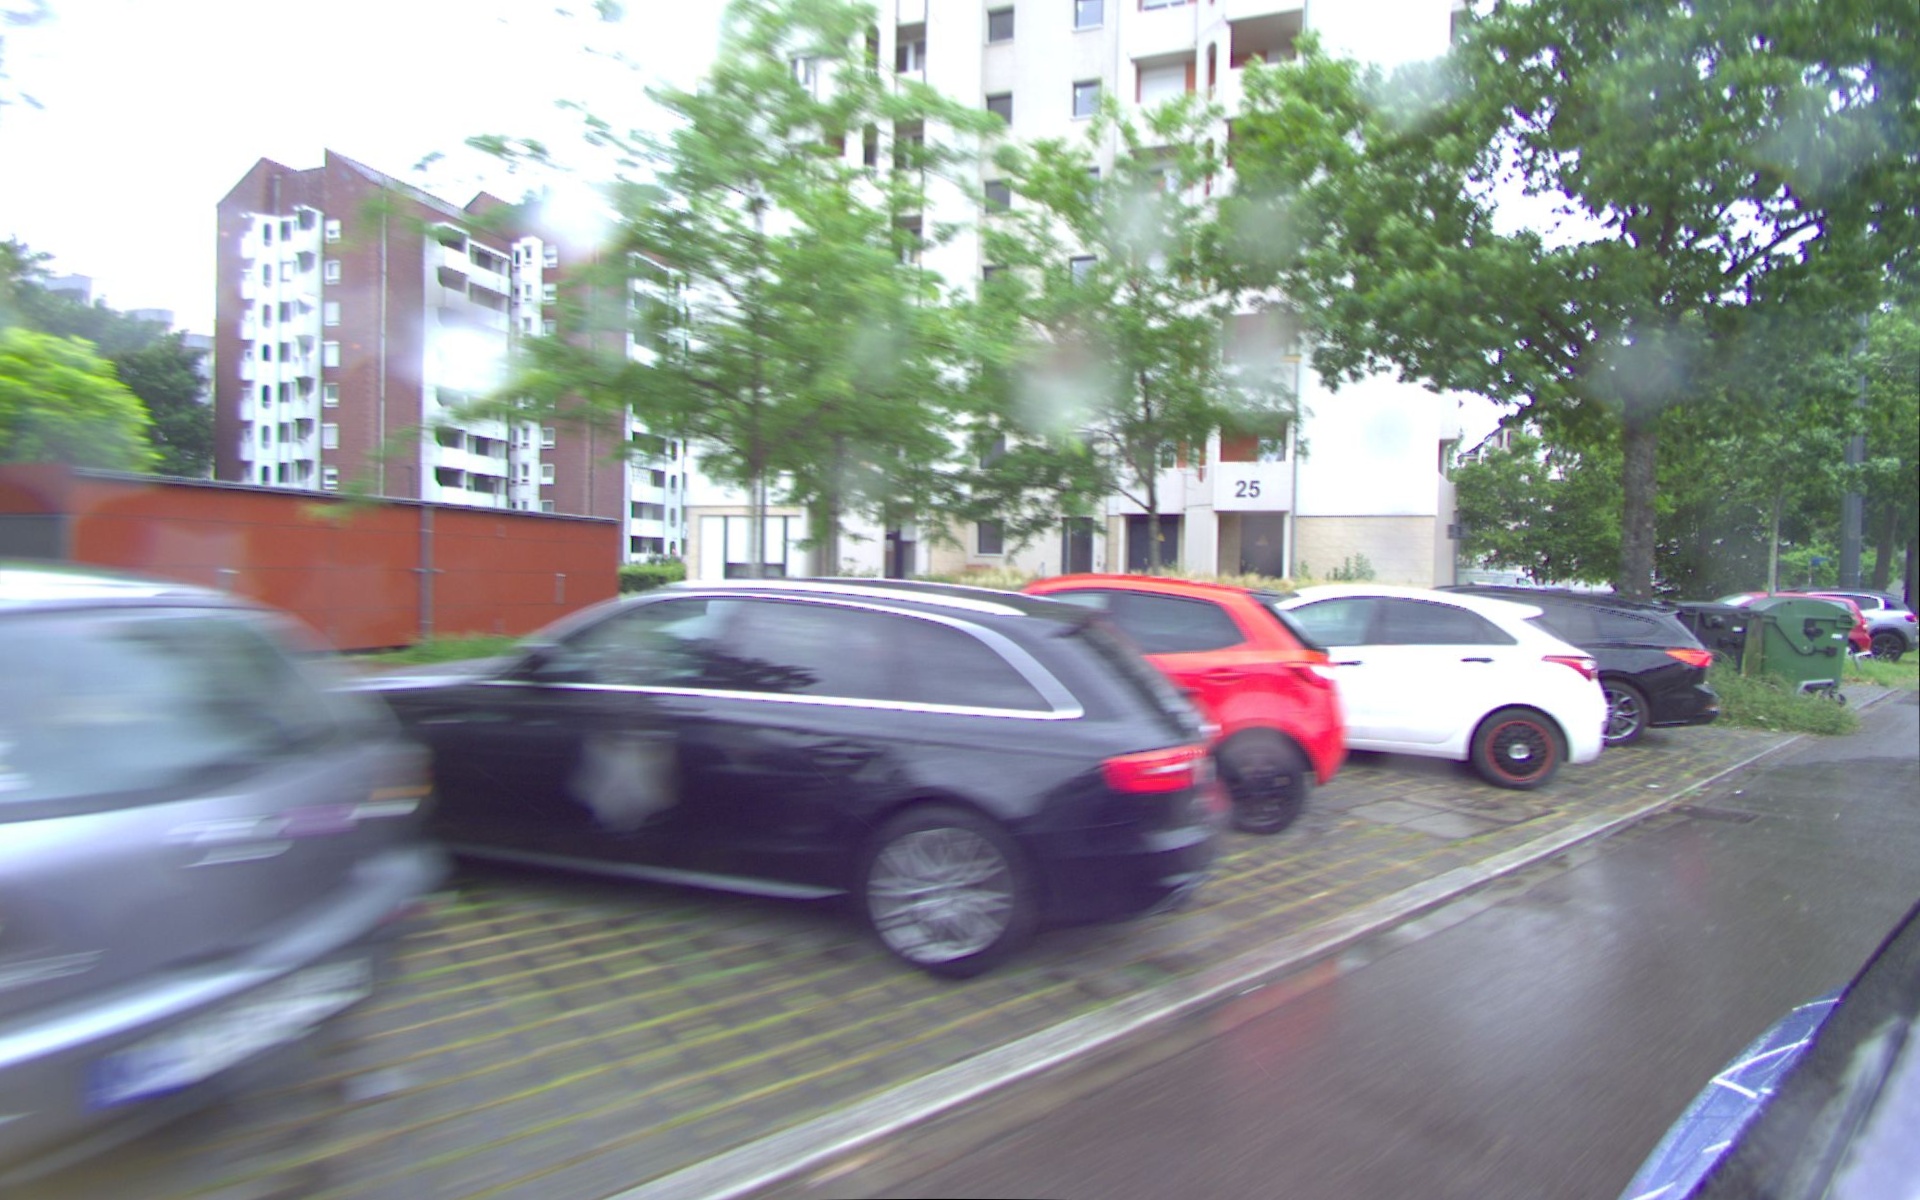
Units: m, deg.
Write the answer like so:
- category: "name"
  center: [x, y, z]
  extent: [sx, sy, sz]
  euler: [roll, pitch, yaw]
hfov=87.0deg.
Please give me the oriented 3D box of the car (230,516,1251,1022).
- category: "car"
  center: [-0.966, 0.481, 4.755]
  extent: [4.401, 1.445, 1.676]
  euler: [4, 2, 17]

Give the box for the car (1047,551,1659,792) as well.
- category: "car"
  center: [3.119, 0.467, 8.800]
  extent: [4.400, 1.483, 1.811]
  euler: [4, 2, 16]

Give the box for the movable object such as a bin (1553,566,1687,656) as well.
- category: "movable object such as a bin"
  center: [9.659, 0.148, 14.871]
  extent: [1.220, 1.267, 1.185]
  euler: [0, 1, 6]

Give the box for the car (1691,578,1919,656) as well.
- category: "car"
  center: [20.184, 0.363, 24.174]
  extent: [3.988, 1.706, 1.717]
  euler: [1, 1, 15]

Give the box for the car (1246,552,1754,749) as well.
- category: "car"
  center: [5.425, 0.399, 10.840]
  extent: [4.404, 1.560, 1.675]
  euler: [4, 4, 19]

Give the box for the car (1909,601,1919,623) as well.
- category: "car"
  center: [62.671, 0.774, 63.228]
  extent: [4.426, 1.344, 1.986]
  euler: [0, 1, 22]

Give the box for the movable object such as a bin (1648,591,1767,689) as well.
- category: "movable object such as a bin"
  center: [10.805, 0.548, 14.683]
  extent: [0.982, 1.329, 1.183]
  euler: [0, 1, 12]

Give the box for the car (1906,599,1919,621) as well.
- category: "car"
  center: [60.412, 0.612, 61.051]
  extent: [4.423, 1.344, 1.987]
  euler: [0, 1, 20]

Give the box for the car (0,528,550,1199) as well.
- category: "car"
  center: [-3.610, 0.484, 2.829]
  extent: [4.400, 1.427, 1.760]
  euler: [4, 2, 16]

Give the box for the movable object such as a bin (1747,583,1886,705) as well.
- category: "movable object such as a bin"
  center: [11.793, 0.555, 14.003]
  extent: [1.152, 1.582, 1.362]
  euler: [0, 1, 27]

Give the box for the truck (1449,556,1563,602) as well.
- category: "truck"
  center: [31.056, -1.197, 57.608]
  extent: [5.633, 2.468, 2.100]
  euler: [1, 1, 33]

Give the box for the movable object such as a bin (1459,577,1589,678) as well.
- category: "movable object such as a bin"
  center: [8.370, 0.374, 15.092]
  extent: [1.344, 1.440, 1.184]
  euler: [0, 1, 8]

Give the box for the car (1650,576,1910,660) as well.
- category: "car"
  center: [17.925, 0.340, 22.328]
  extent: [3.989, 1.507, 1.717]
  euler: [4, 2, 15]

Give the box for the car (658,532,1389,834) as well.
- category: "car"
  center: [0.386, 0.406, 7.011]
  extent: [4.393, 1.445, 1.804]
  euler: [4, 2, 12]
